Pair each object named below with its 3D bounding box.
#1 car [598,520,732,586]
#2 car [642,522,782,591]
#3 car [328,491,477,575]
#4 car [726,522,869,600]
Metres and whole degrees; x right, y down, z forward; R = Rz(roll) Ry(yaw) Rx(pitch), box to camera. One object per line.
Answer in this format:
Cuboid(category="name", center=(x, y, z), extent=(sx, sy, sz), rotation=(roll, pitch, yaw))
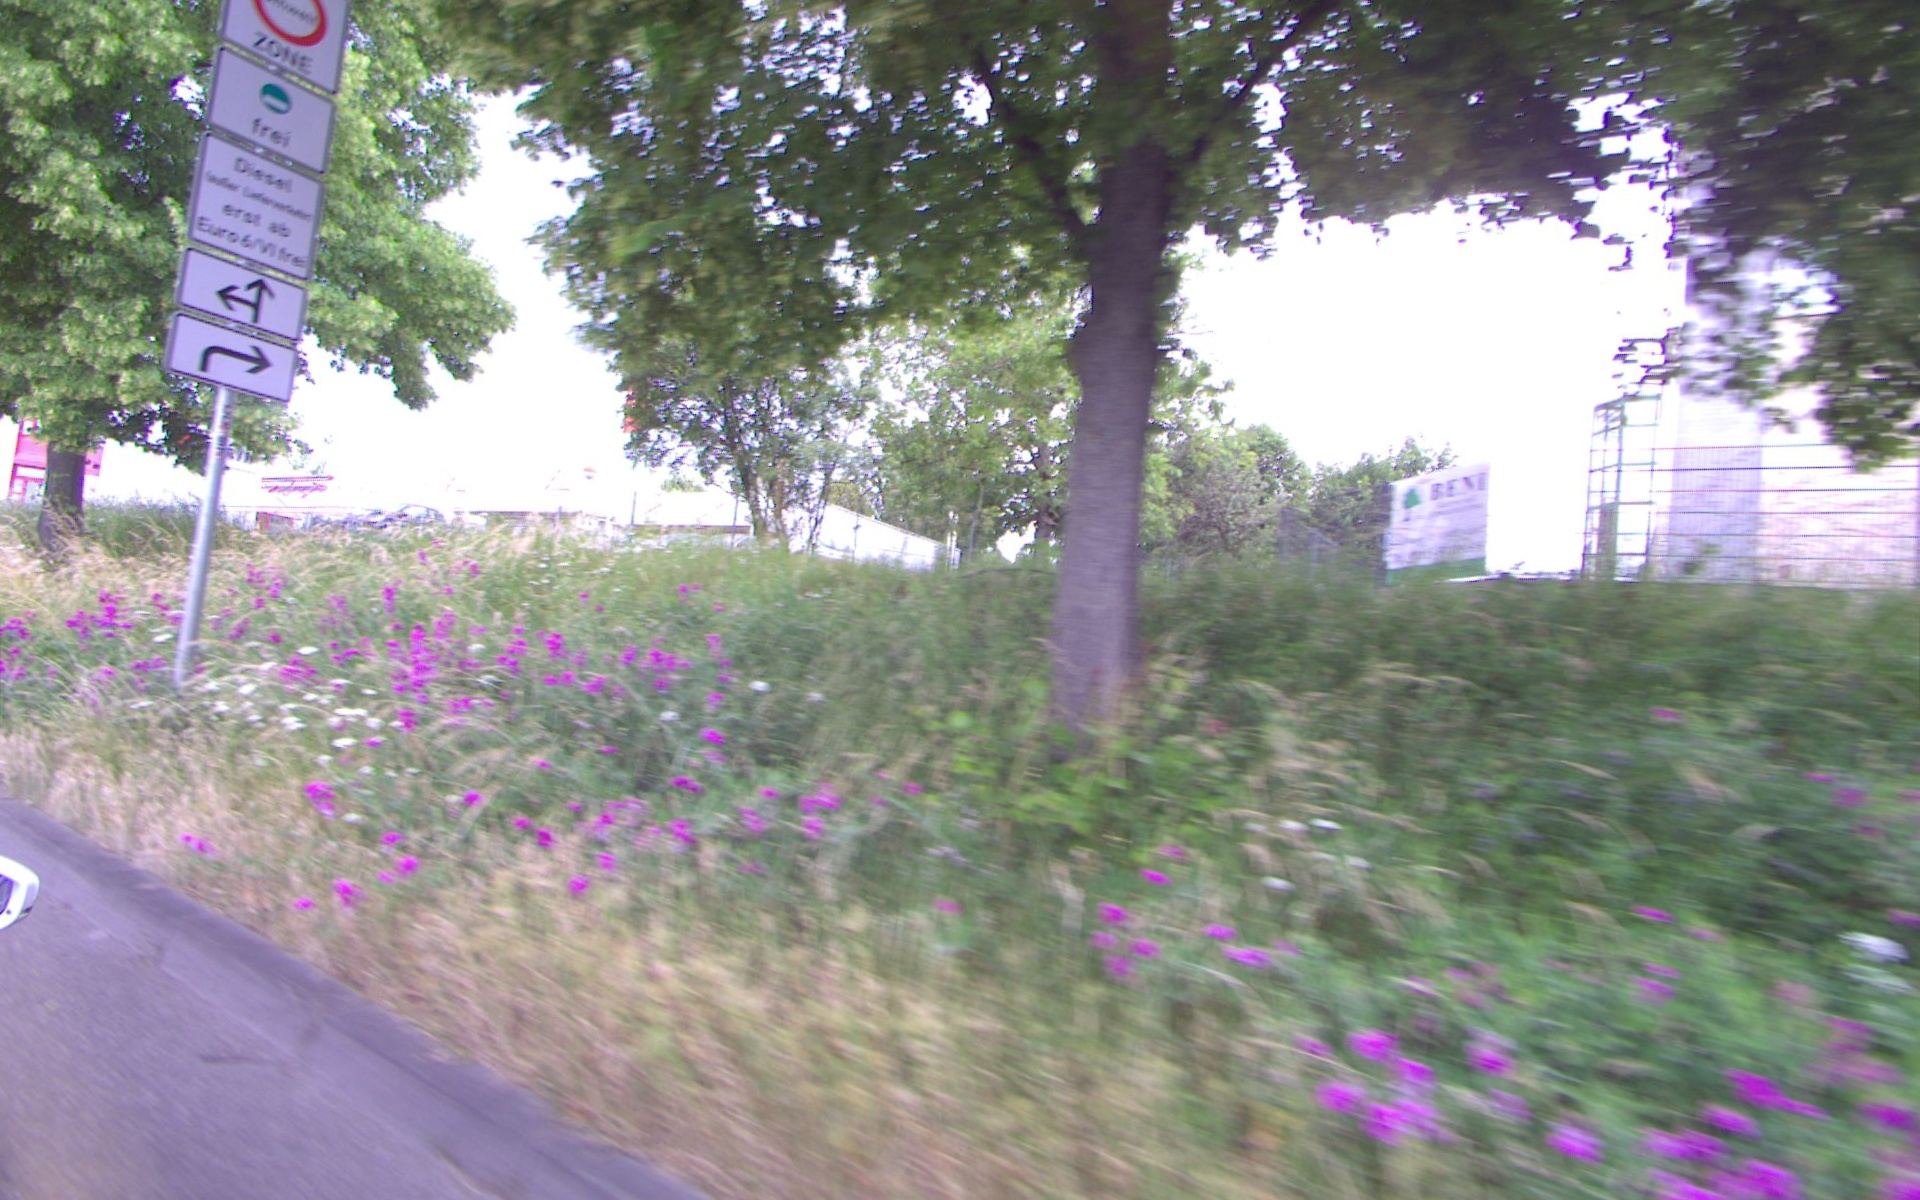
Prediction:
Cuboid(category="car", center=(-9.382, -1.478, 32.233), extent=(1.727, 1.378, 3.763), rotation=(6, -4, 34))
Cuboid(category="car", center=(-7.536, -1.295, 30.921), extent=(1.728, 1.383, 3.934), rotation=(6, -4, 34))
Cuboid(category="car", center=(-18.278, -2.158, 33.141), extent=(1.617, 1.980, 3.763), rotation=(6, -4, 34))
Cuboid(category="car", center=(-4.620, -1.091, 29.159), extent=(1.727, 1.498, 3.934), rotation=(6, -4, 34))
